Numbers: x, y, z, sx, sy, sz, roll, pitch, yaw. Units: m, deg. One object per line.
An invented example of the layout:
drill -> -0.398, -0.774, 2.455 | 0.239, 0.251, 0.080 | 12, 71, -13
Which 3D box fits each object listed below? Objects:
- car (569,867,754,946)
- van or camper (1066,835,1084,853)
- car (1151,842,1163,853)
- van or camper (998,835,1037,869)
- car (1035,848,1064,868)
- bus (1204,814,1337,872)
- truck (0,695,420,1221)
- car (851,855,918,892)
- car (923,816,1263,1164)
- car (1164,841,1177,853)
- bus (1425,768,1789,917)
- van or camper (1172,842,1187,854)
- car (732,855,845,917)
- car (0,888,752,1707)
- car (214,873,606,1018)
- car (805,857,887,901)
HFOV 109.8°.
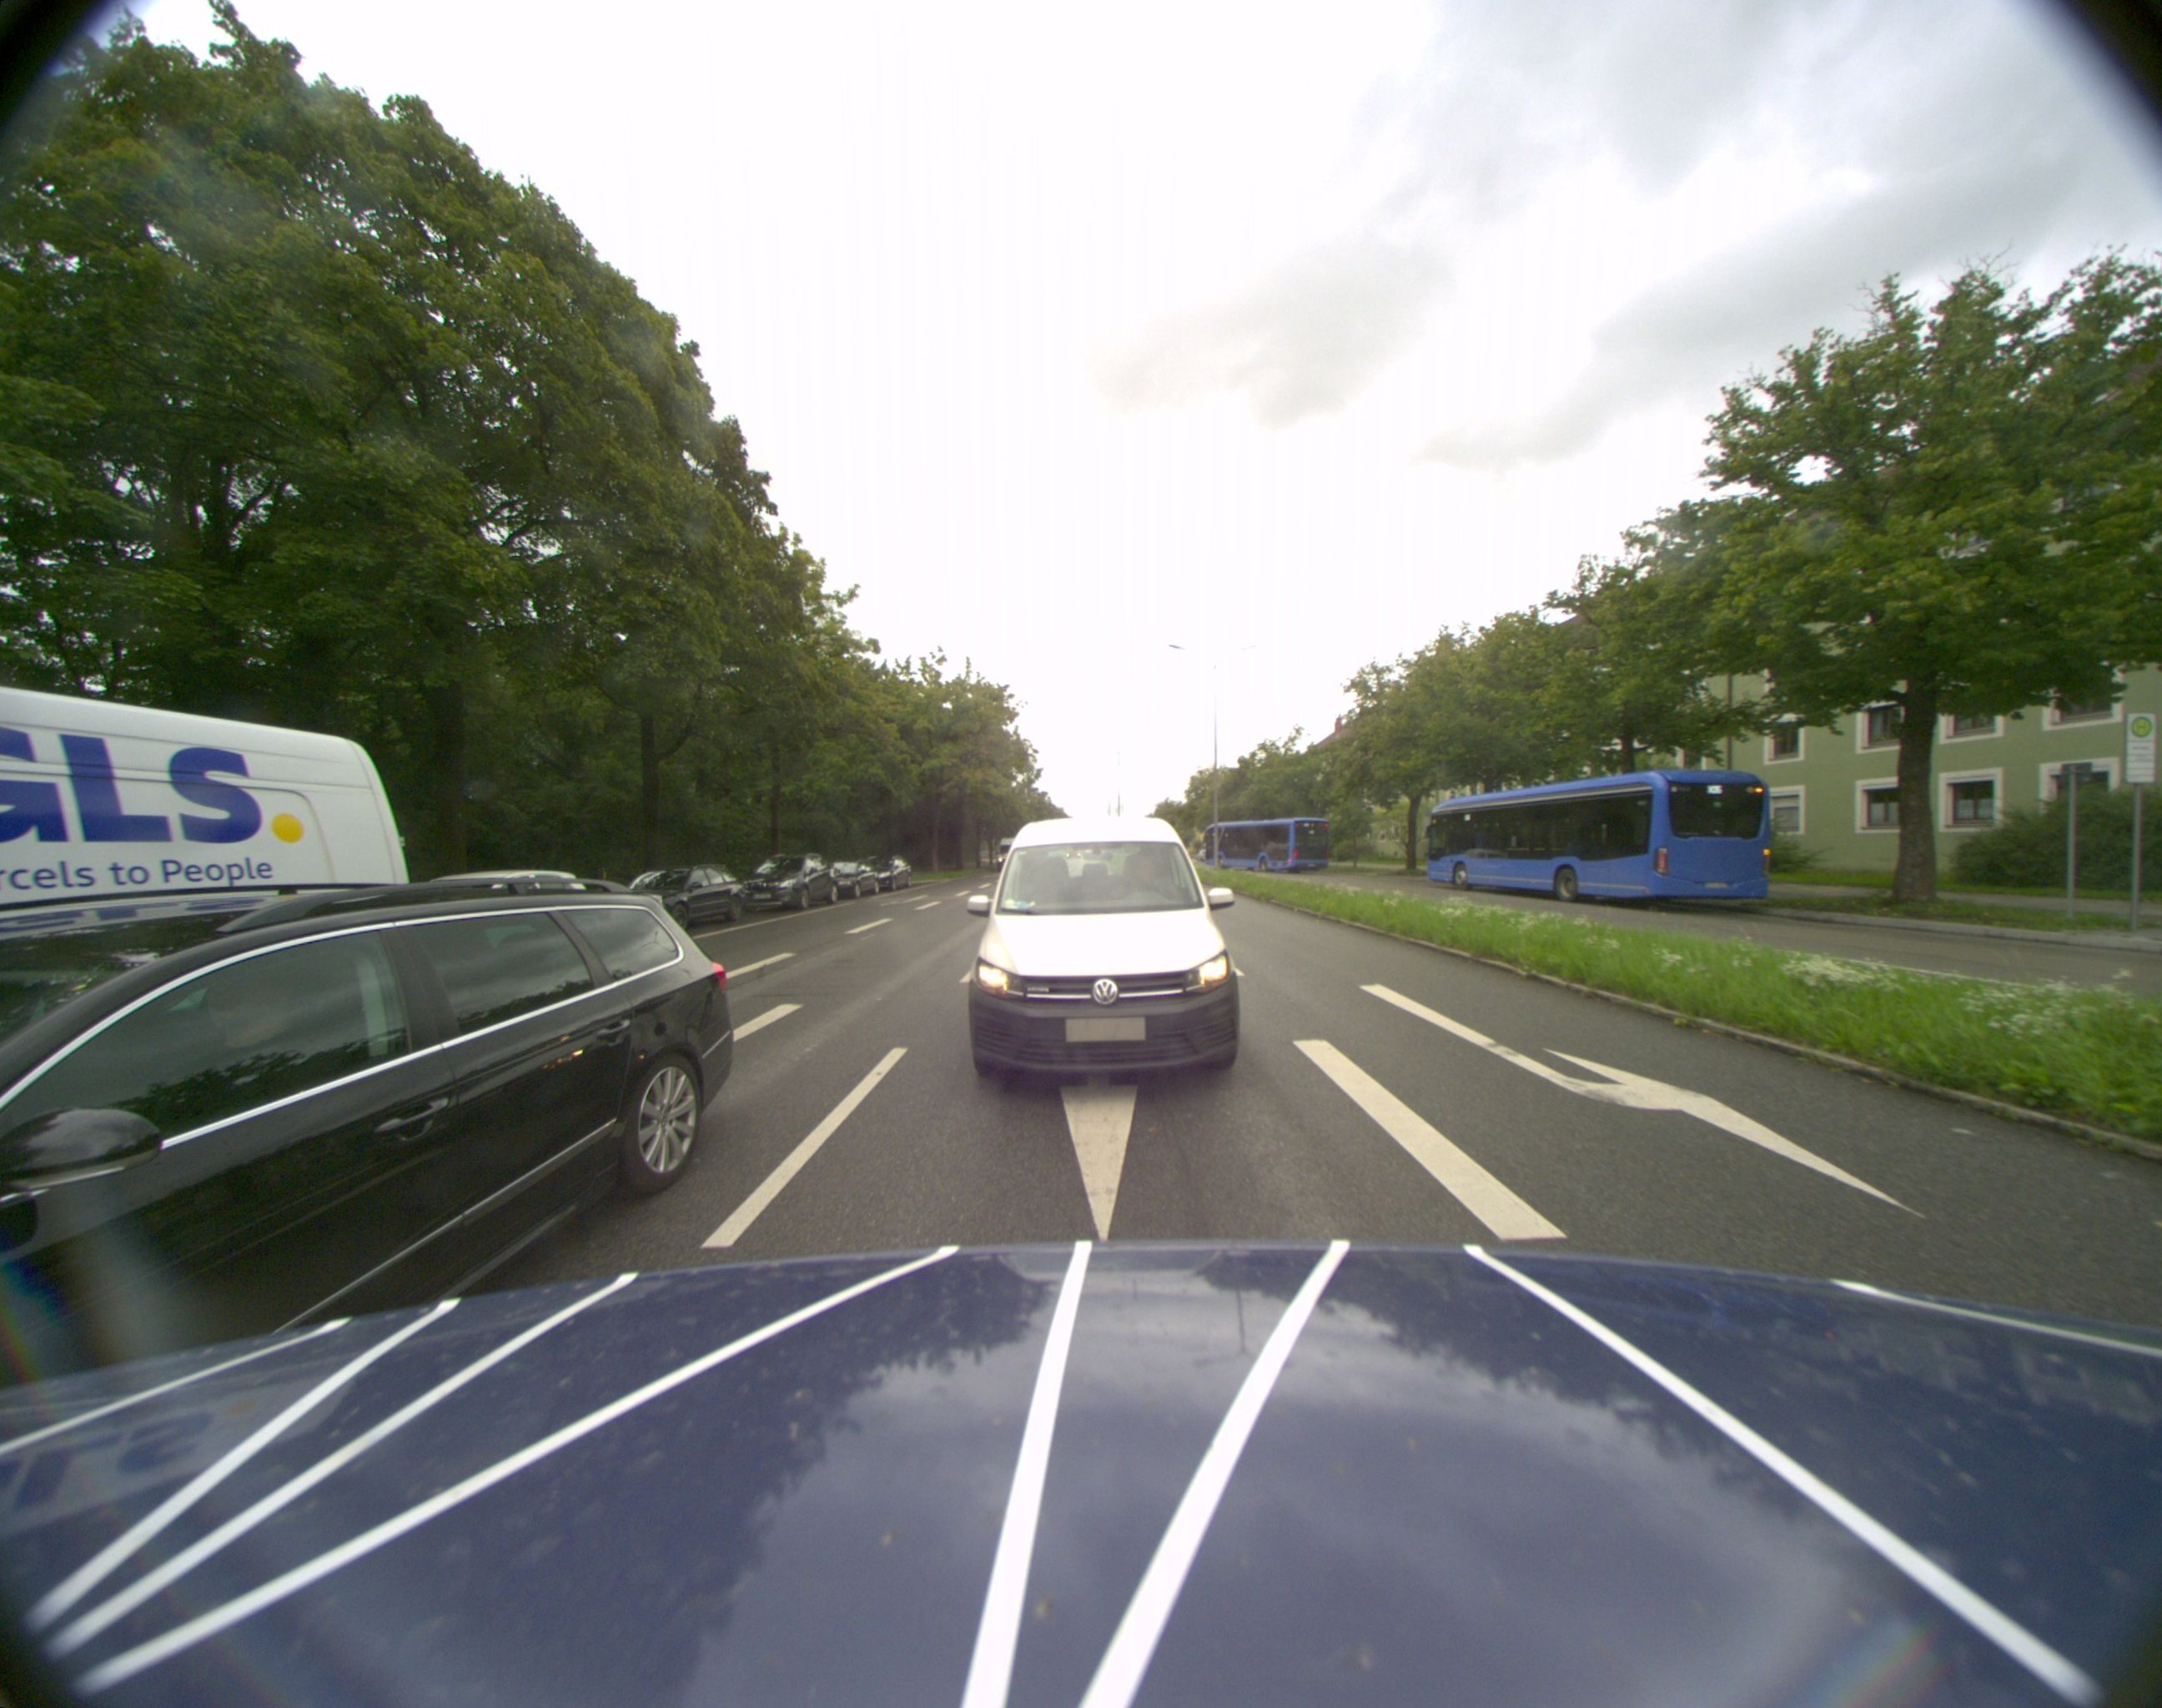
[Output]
car -> -9.276, 1.079, 17.266 | 1.752, 1.420, 4.255 | -1, 1, 1
van or camper -> -1.056, -1.895, 139.977 | 2.780, 3.219, 7.074 | -1, 1, 2
car -> 15.254, -1.319, 152.308 | 1.998, 2.002, 3.999 | -1, 1, 1
van or camper -> -4.963, -0.200, 60.440 | 2.183, 2.546, 7.074 | -1, 1, 2
car -> -2.475, 0.309, 60.849 | 1.819, 1.421, 4.671 | -2, 1, 3
bus -> 11.916, -0.702, 49.769 | 2.756, 3.324, 12.254 | 0, 1, -16
truck -> -6.338, 0.553, 2.437 | 1.998, 2.589, 7.226 | -2, 1, 0
car -> -8.502, 0.802, 33.300 | 1.752, 1.459, 4.255 | -1, 1, 1
car -> 0.098, 0.689, 6.326 | 1.752, 1.809, 4.671 | -1, 1, 1
car -> 16.443, -1.286, 139.438 | 1.998, 2.002, 3.999 | -1, 1, 1
bus -> 14.481, -0.337, 23.017 | 2.752, 3.324, 12.047 | 0, 1, 1
van or camper -> 16.316, -1.050, 126.140 | 1.998, 2.002, 3.999 | -1, 1, 1
car -> -8.799, 0.882, 23.269 | 1.752, 1.640, 4.255 | -1, 1, 1
car -> -2.817, 0.982, 2.024 | 1.752, 1.466, 4.671 | -2, 1, 1
car -> -9.272, 1.132, 11.141 | 1.752, 1.515, 4.396 | -1, 1, 1
car -> -8.704, 0.883, 28.501 | 1.752, 1.459, 4.038 | -1, 1, 1
